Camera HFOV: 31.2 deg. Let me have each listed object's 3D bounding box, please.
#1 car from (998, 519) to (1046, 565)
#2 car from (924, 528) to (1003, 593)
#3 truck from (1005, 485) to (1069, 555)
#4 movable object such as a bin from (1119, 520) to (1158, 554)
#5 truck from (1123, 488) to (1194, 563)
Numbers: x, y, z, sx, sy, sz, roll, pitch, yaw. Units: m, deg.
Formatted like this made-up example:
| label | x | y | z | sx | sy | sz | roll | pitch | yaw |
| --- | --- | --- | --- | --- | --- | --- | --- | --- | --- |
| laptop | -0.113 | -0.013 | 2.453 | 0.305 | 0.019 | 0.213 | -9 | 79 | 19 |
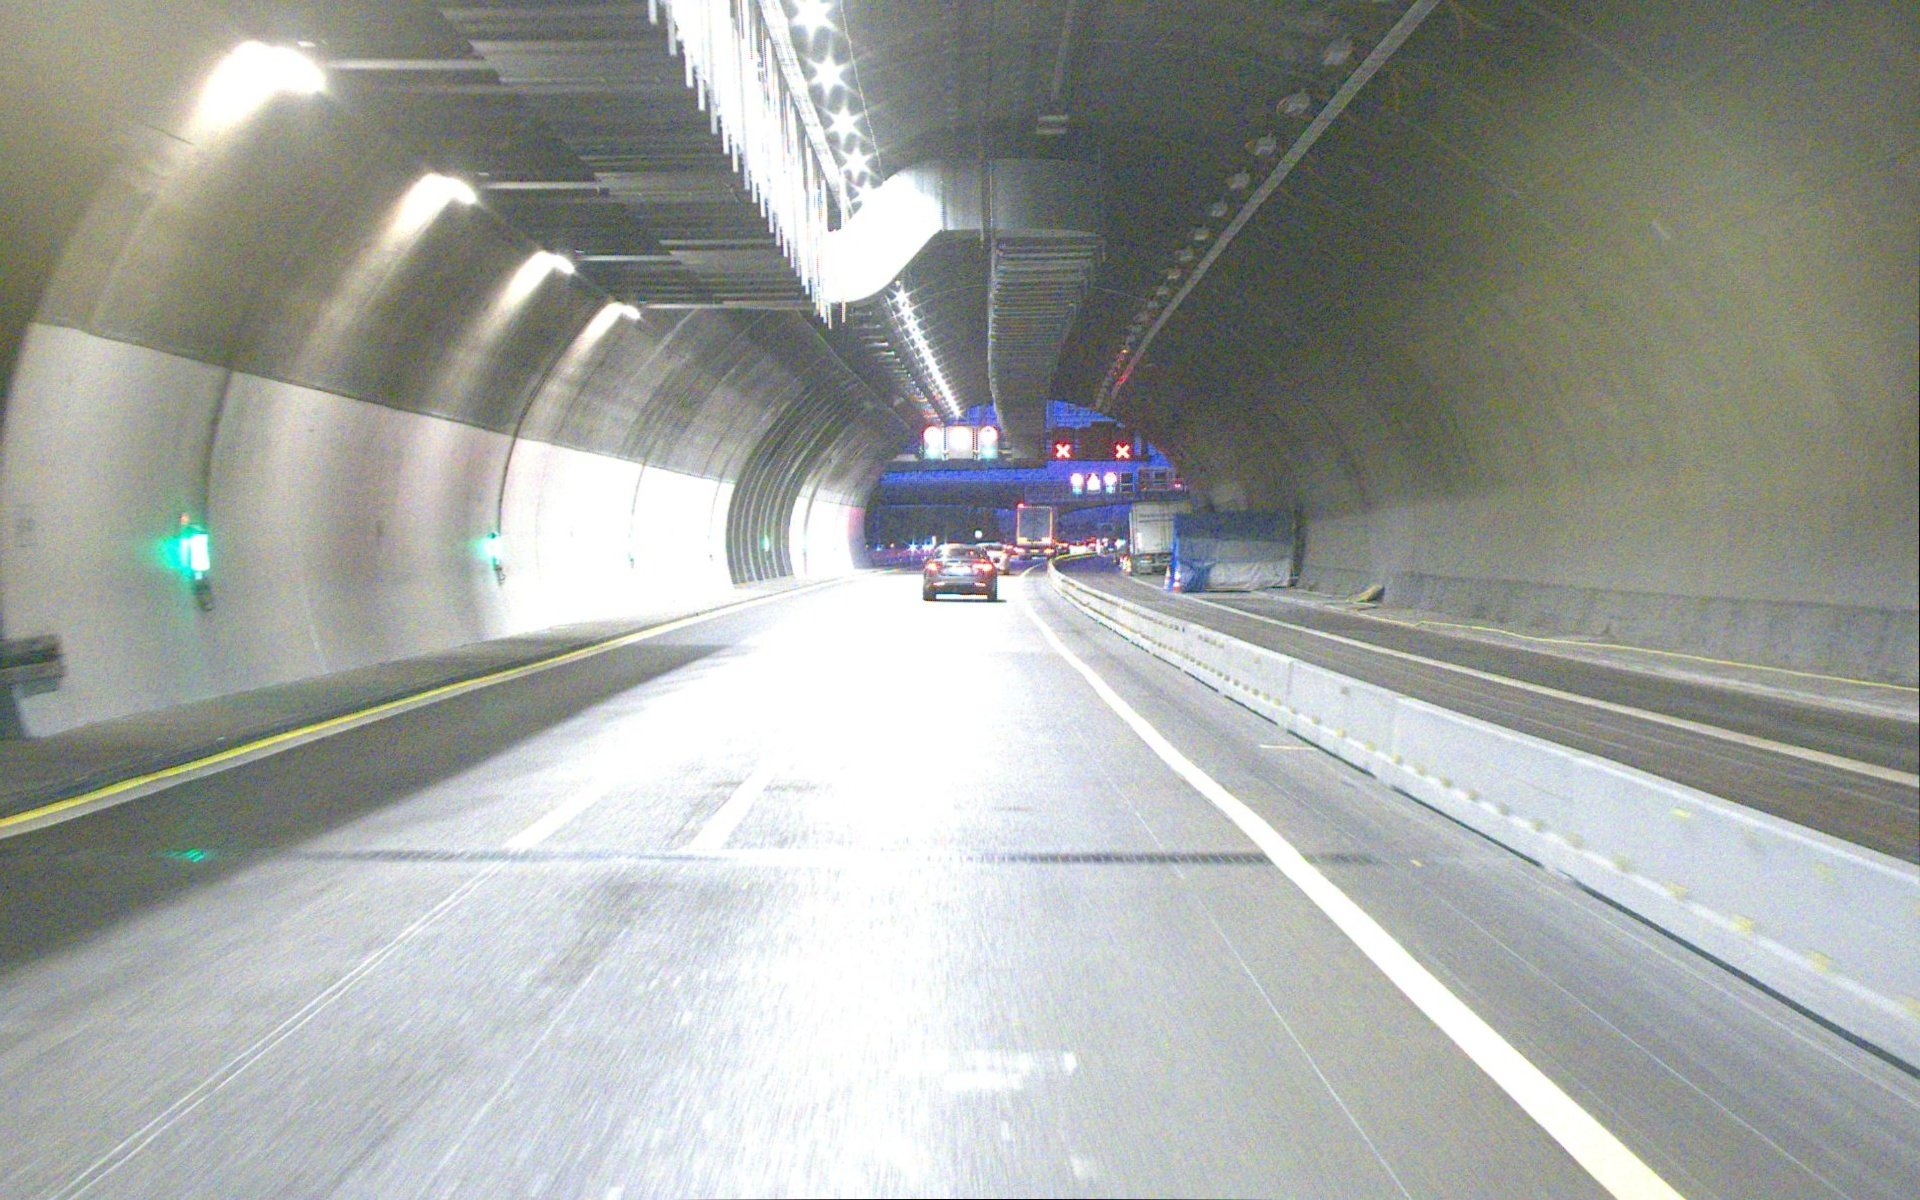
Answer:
| label | x | y | z | sx | sy | sz | roll | pitch | yaw |
| --- | --- | --- | --- | --- | --- | --- | --- | --- | --- |
| car | 2.734 | -2.572 | 151.754 | 1.993 | 2.007 | 4.000 | 0 | 1 | -1 |
| car | 0.062 | -1.005 | 87.454 | 1.887 | 1.601 | 4.000 | 0 | 1 | -2 |
| truck | 5.607 | -5.819 | 251.777 | 4.546 | 4.970 | 9.599 | 0 | 1 | 1 |
| movable object such as a bin | 9.744 | -3.434 | 188.141 | 1.978 | 1.809 | 3.836 | 0 | 1 | 1 |
| truck | 8.912 | -3.320 | 154.939 | 2.892 | 3.261 | 8.401 | 0 | 1 | 1 |
